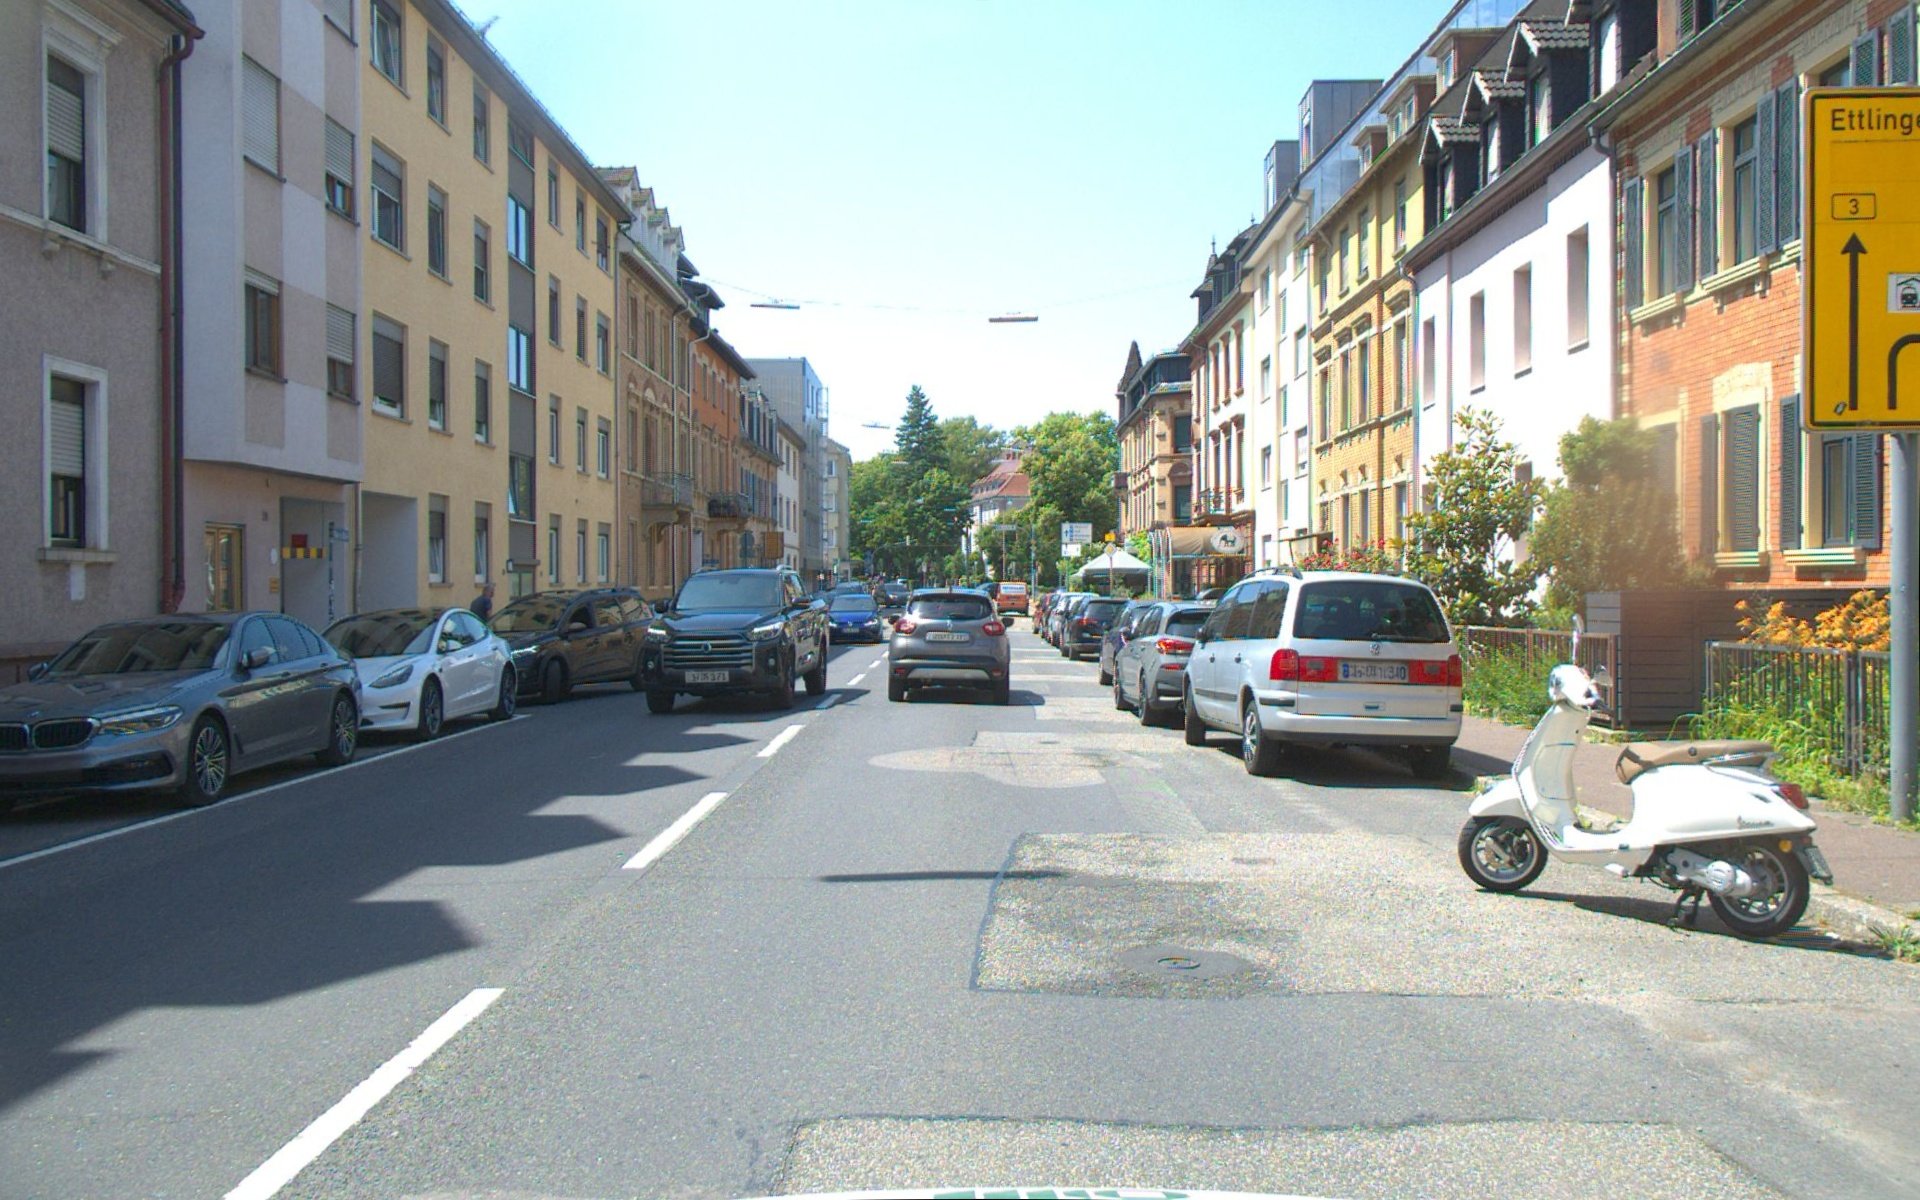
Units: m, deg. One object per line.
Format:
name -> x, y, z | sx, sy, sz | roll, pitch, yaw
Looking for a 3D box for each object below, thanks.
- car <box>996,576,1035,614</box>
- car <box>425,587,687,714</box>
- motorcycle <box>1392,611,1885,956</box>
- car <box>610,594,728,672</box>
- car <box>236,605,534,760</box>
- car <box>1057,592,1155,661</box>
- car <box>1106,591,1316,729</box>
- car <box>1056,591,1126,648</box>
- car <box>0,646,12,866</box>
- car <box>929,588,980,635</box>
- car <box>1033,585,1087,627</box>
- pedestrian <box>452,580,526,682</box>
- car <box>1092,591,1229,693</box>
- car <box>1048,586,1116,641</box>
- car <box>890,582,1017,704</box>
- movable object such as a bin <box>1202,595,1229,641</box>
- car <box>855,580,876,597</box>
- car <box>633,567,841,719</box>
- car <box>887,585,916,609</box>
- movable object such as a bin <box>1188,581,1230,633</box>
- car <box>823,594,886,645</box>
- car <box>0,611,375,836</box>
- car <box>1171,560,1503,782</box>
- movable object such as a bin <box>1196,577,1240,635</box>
car -> 3.191, -0.322, 94.363 | 1.951, 2.048, 4.469 | -2, 1, 4
car -> -6.180, 0.722, 25.907 | 1.864, 1.666, 4.561 | -3, 1, 17
motorcycle -> 3.207, 0.765, 7.878 | 1.957, 1.410, 1.108 | 0, 0, 38
car -> -6.509, 0.700, 37.386 | 1.866, 1.536, 4.302 | -3, 0, -1
car -> -6.570, 0.864, 19.477 | 1.802, 1.447, 4.558 | -4, 0, 0
car -> 3.382, 0.584, 39.112 | 1.822, 1.490, 4.617 | 1, 1, -1
car -> 3.036, 0.672, 20.873 | 1.823, 1.513, 4.308 | 1, 1, -2
car -> 3.581, 0.508, 45.748 | 1.625, 1.466, 4.000 | 0, 1, 1
car -> -6.628, 0.938, 7.817 | 1.803, 1.447, 4.500 | -3, 0, -3
car -> -0.240, 0.421, 63.924 | 1.776, 1.649, 4.439 | -2, 0, -2
car -> 3.615, 0.195, 60.405 | 1.579, 1.468, 3.435 | 0, 1, -3
pedestrian -> -8.561, 0.544, 30.031 | 0.958, 1.780, 1.141 | -2, 0, -34
car -> 3.257, 0.637, 27.657 | 1.661, 1.513, 4.617 | 1, 1, -1
car -> 3.666, 0.379, 50.262 | 1.822, 1.580, 4.001 | 1, 1, 1
car -> -0.104, 0.578, 24.526 | 1.708, 1.644, 4.000 | 0, 0, -1
movable object such as a bin -> 6.733, 0.470, 43.610 | 0.625, 1.197, 0.911 | 0, 0, 2
car -> -9.456, -1.191, 165.711 | 1.753, 1.654, 3.744 | -1, 1, 2
car -> -2.949, 0.501, 23.016 | 1.952, 1.823, 5.150 | -2, 1, 2
car -> -3.989, -0.201, 112.948 | 1.900, 1.654, 3.998 | 0, 0, -2
movable object such as a bin -> 6.964, 0.186, 46.312 | 1.021, 1.426, 1.254 | 0, 1, 2
car -> -3.192, 0.568, 50.522 | 1.779, 1.413, 3.998 | -2, 0, -2
car -> -6.525, 0.891, 13.754 | 1.803, 1.447, 4.643 | -3, 0, -3
car -> 3.345, 0.551, 15.653 | 1.823, 1.778, 4.615 | 1, 1, -4
movable object such as a bin -> 7.001, 0.157, 44.939 | 1.021, 1.544, 1.447 | 0, 1, 2
